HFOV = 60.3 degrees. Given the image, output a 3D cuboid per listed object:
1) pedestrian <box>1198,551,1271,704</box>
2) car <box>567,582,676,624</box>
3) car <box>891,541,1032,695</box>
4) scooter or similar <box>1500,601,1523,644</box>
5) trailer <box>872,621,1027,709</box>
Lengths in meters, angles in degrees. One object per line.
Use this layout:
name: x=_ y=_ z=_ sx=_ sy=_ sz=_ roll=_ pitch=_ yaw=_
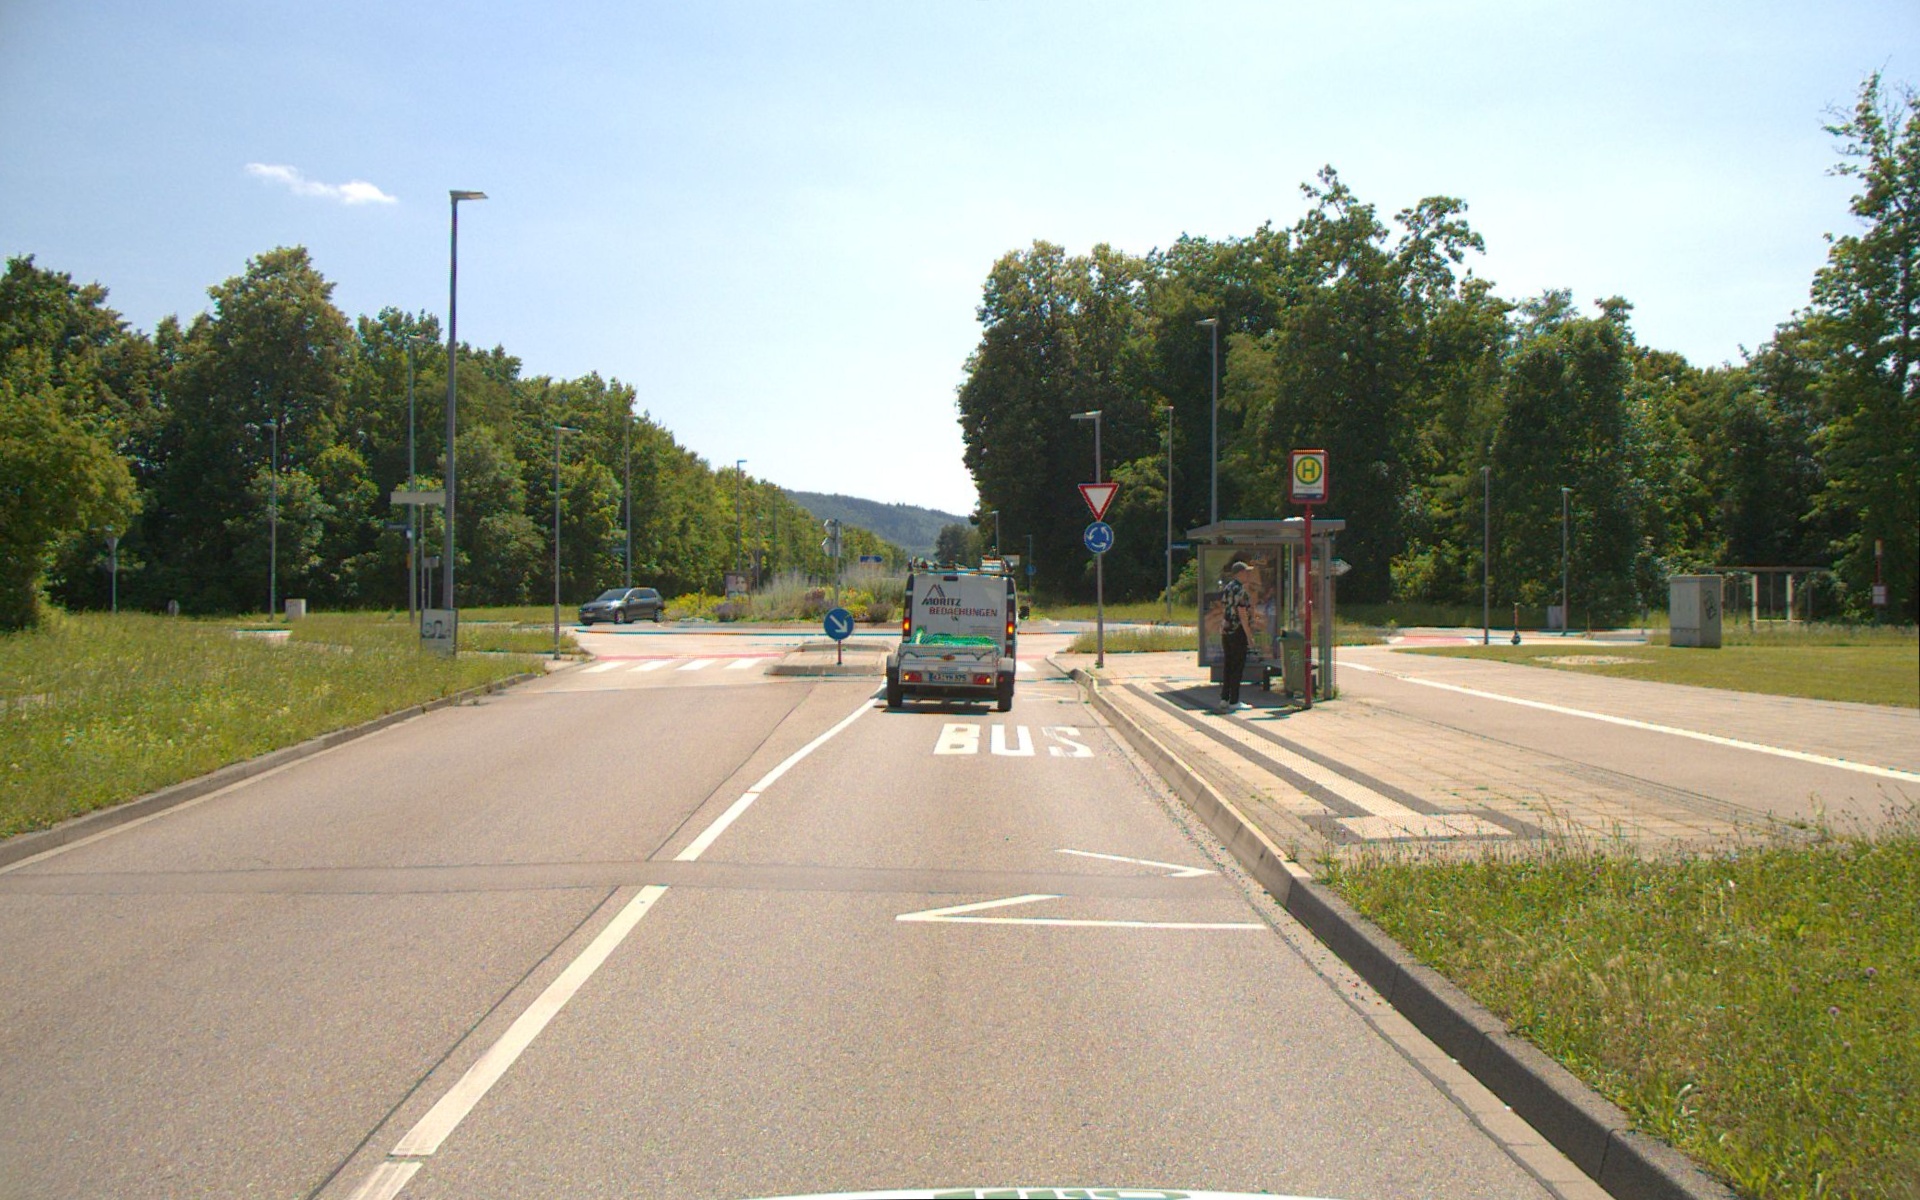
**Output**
pedestrian: x=3.421 y=0.338 z=20.672 sx=0.693 sy=1.854 sz=0.826 roll=-2 pitch=0 yaw=-1
car: x=-13.545 y=0.107 z=66.402 sx=1.956 sy=1.504 sz=4.281 roll=-1 pitch=1 yaw=30
car: x=0.131 y=0.276 z=28.207 sx=2.121 sy=2.357 sz=4.983 roll=1 pitch=0 yaw=3
scooter or similar: x=15.834 y=0.642 z=47.471 sx=0.438 sy=1.222 sz=1.397 roll=1 pitch=0 yaw=27
trailer: x=-0.076 y=0.901 z=24.046 sx=2.077 sy=1.116 sz=3.355 roll=1 pitch=0 yaw=2
